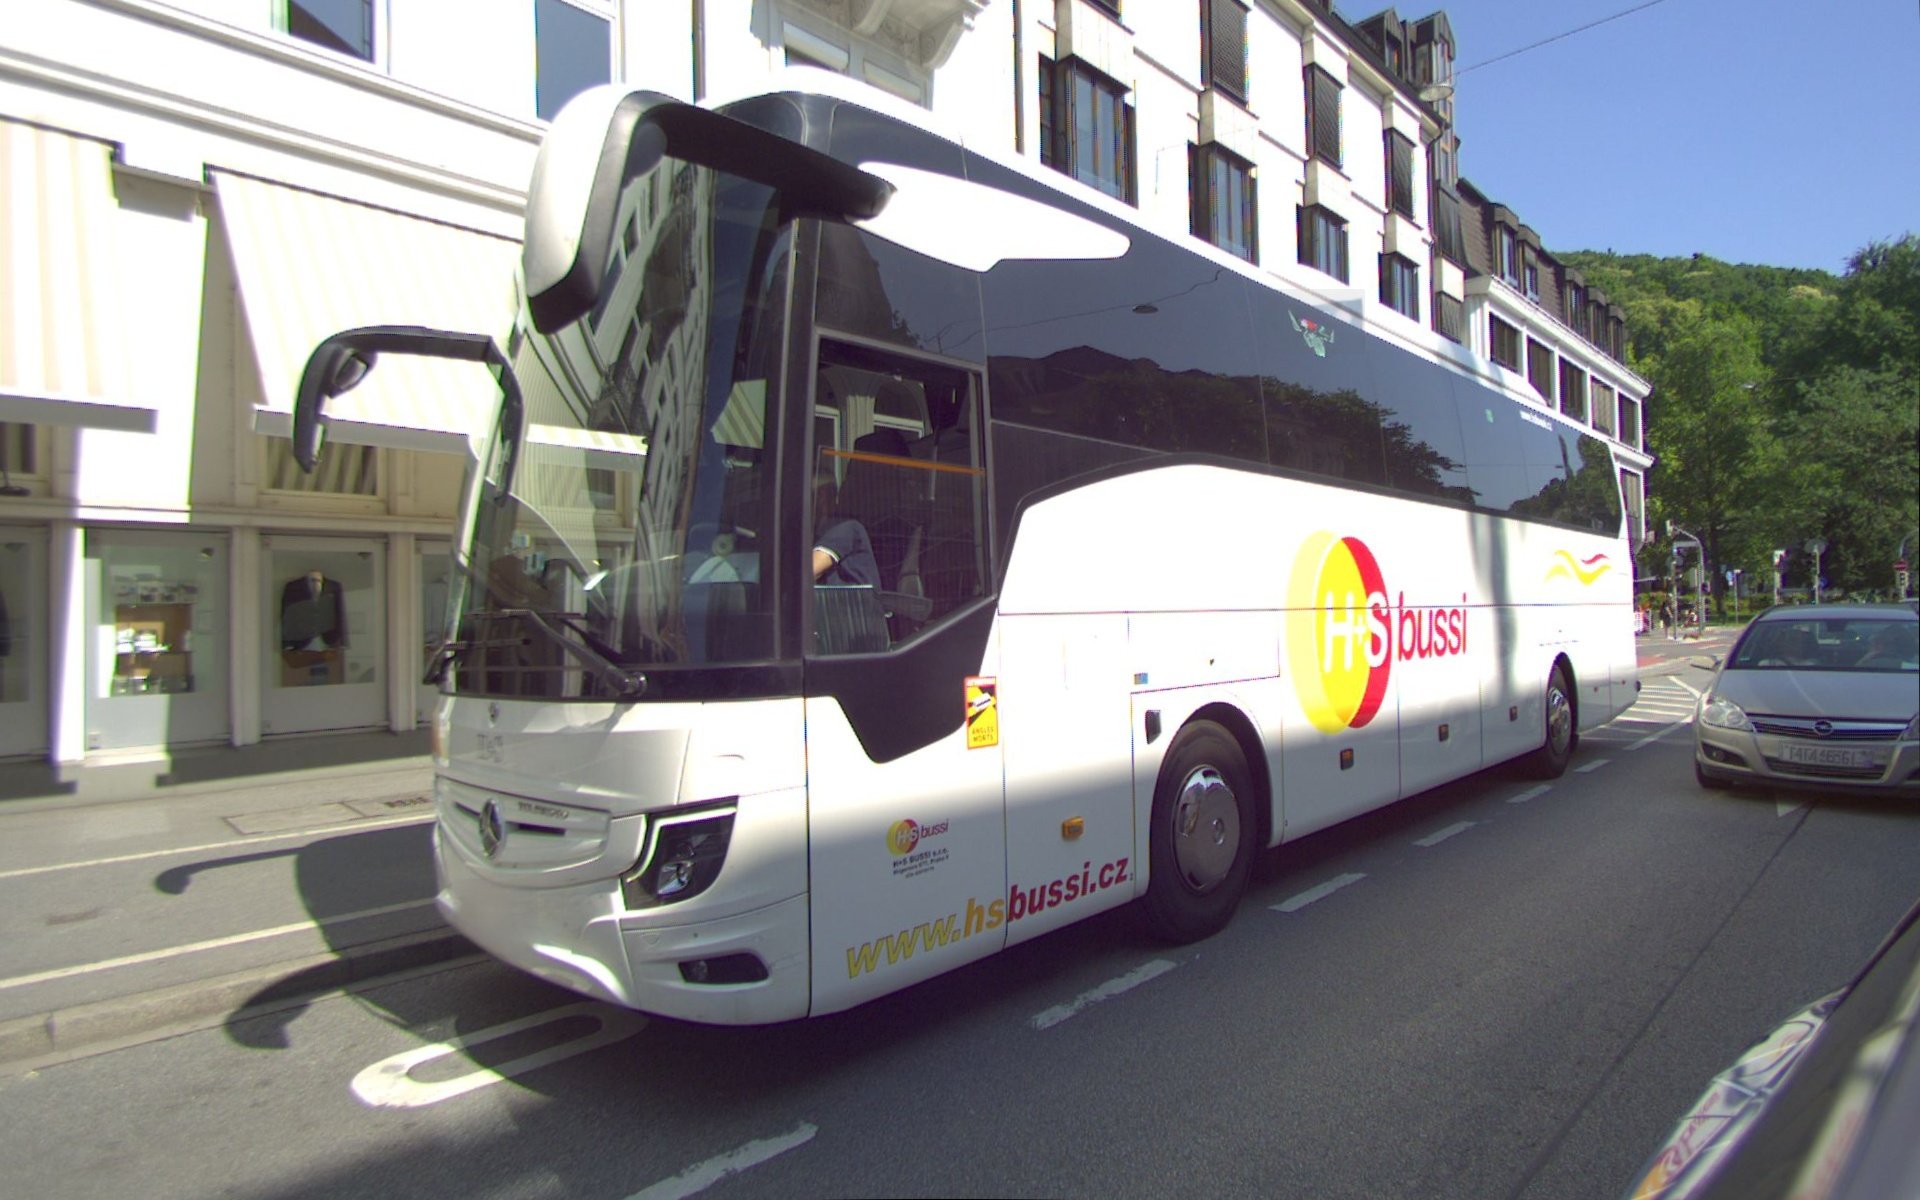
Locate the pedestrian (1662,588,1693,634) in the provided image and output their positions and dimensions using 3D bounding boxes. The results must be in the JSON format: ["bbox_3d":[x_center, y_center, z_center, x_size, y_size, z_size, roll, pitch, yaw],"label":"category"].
[{"bbox_3d":[29.634,0.449,41.806,0.684,1.859,0.835,-1,0,-36],"label":"pedestrian"}]

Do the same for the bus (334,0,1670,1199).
[{"bbox_3d":[2.496,-0.362,7.887,2.881,3.791,12.227,-4,-3,44],"label":"bus"}]

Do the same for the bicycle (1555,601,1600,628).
[{"bbox_3d":[30.278,0.696,49.654,1.827,1.333,0.530,0,-1,8],"label":"bicycle"}]

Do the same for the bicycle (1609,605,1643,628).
[{"bbox_3d":[30.485,0.756,46.327,1.441,1.079,0.310,0,0,-9],"label":"bicycle"}]

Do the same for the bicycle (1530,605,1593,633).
[{"bbox_3d":[24.966,0.786,42.009,2.226,1.111,0.274,-2,-2,33],"label":"bicycle"}]

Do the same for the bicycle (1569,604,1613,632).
[{"bbox_3d":[26.583,0.749,42.667,0.272,1.134,1.575,0,0,-37],"label":"bicycle"}]

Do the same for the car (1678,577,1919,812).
[{"bbox_3d":[7.513,0.625,8.512,1.707,1.542,4.336,-2,-1,44],"label":"car"}]

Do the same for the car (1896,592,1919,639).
[{"bbox_3d":[32.095,0.472,33.135,4.272,1.447,1.937,-1,0,-45],"label":"car"}]

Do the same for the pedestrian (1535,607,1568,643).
[{"bbox_3d":[20.099,0.843,34.373,0.684,1.187,0.713,-2,0,-36],"label":"pedestrian"}]

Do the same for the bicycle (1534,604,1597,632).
[{"bbox_3d":[25.373,0.760,42.464,2.231,1.135,0.274,-2,-2,39],"label":"bicycle"}]

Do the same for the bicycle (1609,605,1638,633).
[{"bbox_3d":[28.349,0.807,43.202,2.201,1.135,0.277,0,-1,-37],"label":"bicycle"}]

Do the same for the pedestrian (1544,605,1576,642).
[{"bbox_3d":[20.716,0.794,34.946,0.684,1.232,0.713,-2,0,-36],"label":"pedestrian"}]

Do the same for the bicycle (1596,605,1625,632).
[{"bbox_3d":[27.882,0.786,43.345,2.201,1.135,0.277,0,-1,-37],"label":"bicycle"}]

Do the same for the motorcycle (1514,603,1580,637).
[{"bbox_3d":[23.592,0.775,40.752,0.929,1.307,2.248,-2,0,-16],"label":"motorcycle"}]

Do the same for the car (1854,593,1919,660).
[{"bbox_3d":[22.723,0.582,24.248,1.841,1.447,4.151,-2,0,41],"label":"car"}]

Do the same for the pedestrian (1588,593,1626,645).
[{"bbox_3d":[21.435,0.611,33.512,0.684,1.684,0.835,-2,0,-36],"label":"pedestrian"}]

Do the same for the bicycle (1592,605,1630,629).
[{"bbox_3d":[29.344,0.779,45.601,1.444,1.079,0.377,0,0,3],"label":"bicycle"}]
